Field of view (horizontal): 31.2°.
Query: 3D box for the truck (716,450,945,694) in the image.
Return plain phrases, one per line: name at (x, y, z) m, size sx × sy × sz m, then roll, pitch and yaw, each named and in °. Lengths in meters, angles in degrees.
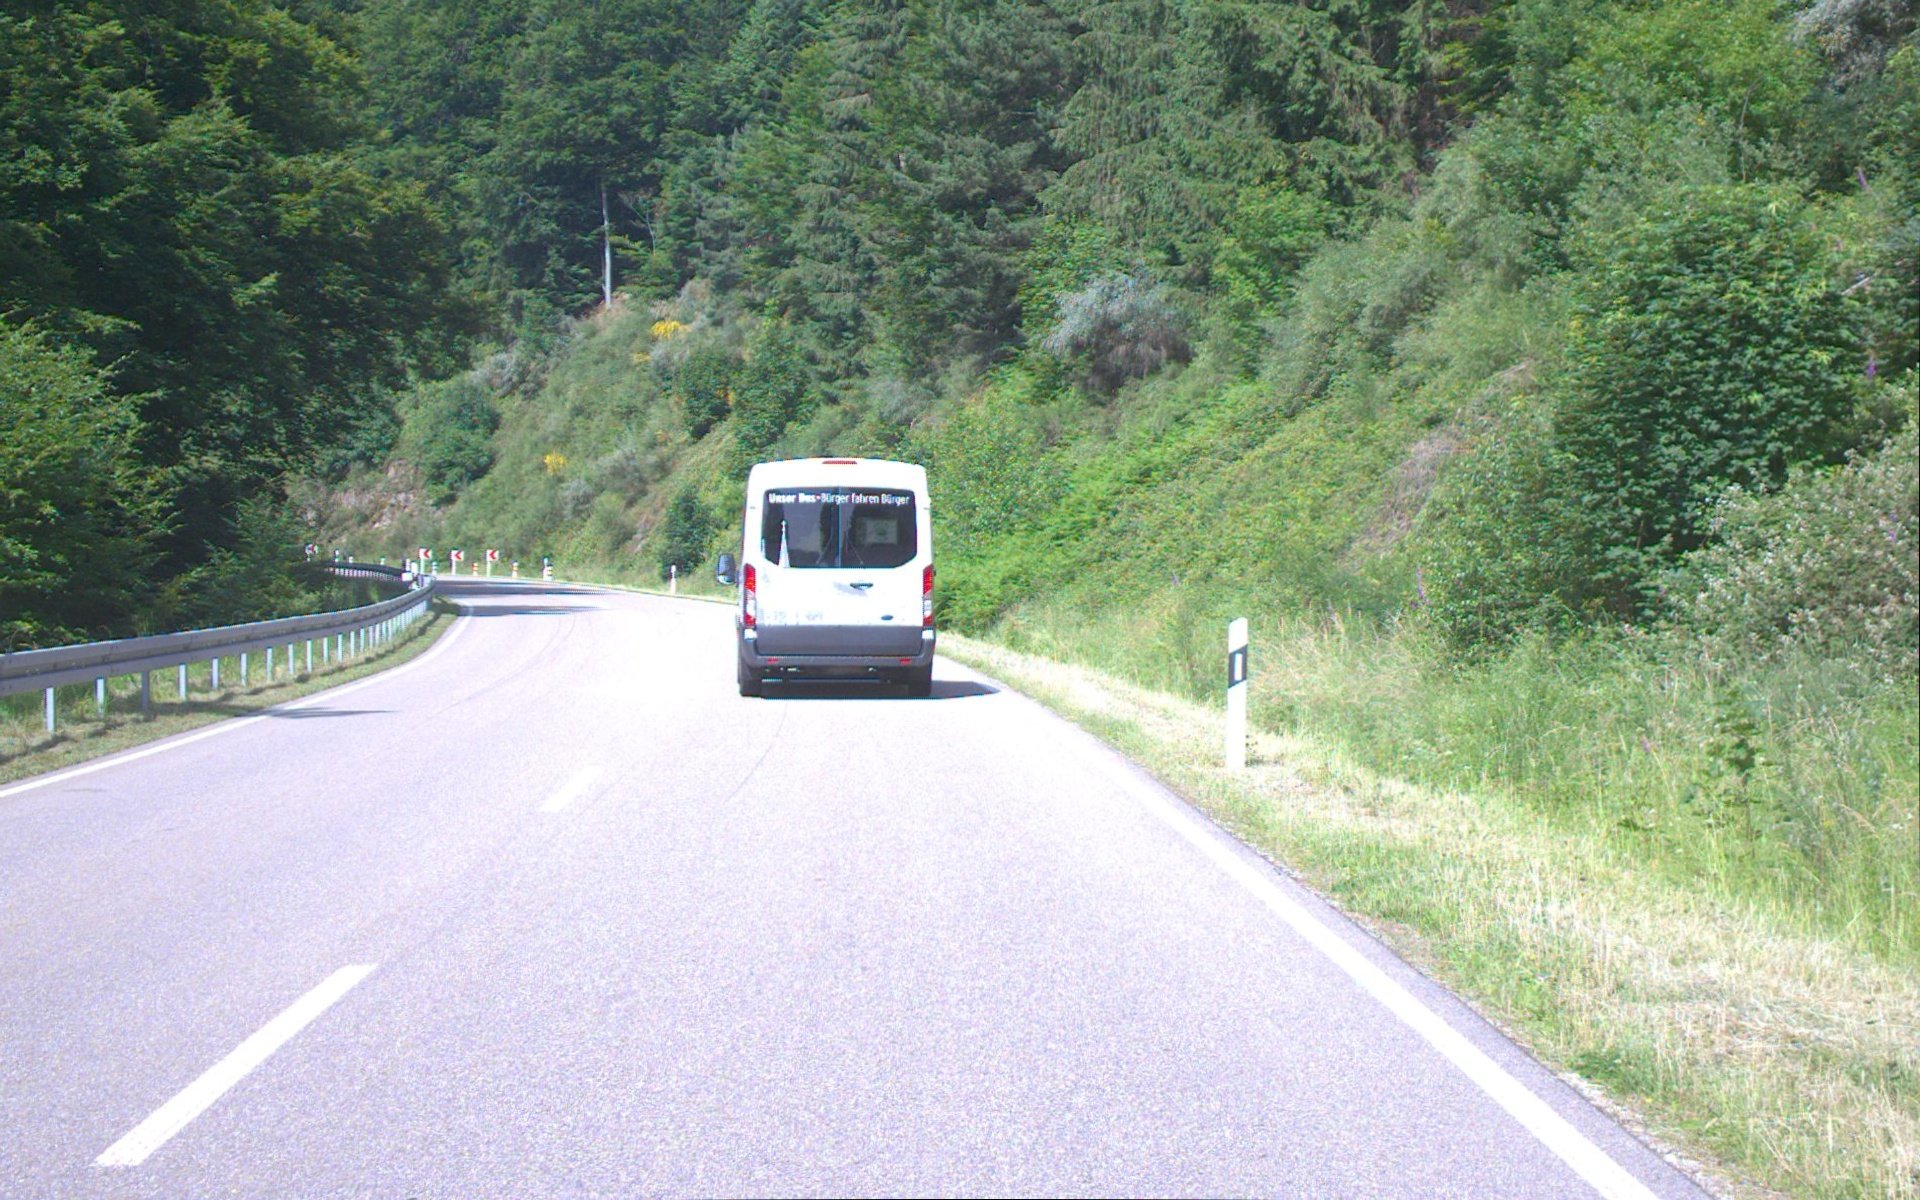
truck at (-1.469, -0.324, 37.051) m, size 2.083 × 2.451 × 4.876 m, roll 0°, pitch 1°, yaw -7°
